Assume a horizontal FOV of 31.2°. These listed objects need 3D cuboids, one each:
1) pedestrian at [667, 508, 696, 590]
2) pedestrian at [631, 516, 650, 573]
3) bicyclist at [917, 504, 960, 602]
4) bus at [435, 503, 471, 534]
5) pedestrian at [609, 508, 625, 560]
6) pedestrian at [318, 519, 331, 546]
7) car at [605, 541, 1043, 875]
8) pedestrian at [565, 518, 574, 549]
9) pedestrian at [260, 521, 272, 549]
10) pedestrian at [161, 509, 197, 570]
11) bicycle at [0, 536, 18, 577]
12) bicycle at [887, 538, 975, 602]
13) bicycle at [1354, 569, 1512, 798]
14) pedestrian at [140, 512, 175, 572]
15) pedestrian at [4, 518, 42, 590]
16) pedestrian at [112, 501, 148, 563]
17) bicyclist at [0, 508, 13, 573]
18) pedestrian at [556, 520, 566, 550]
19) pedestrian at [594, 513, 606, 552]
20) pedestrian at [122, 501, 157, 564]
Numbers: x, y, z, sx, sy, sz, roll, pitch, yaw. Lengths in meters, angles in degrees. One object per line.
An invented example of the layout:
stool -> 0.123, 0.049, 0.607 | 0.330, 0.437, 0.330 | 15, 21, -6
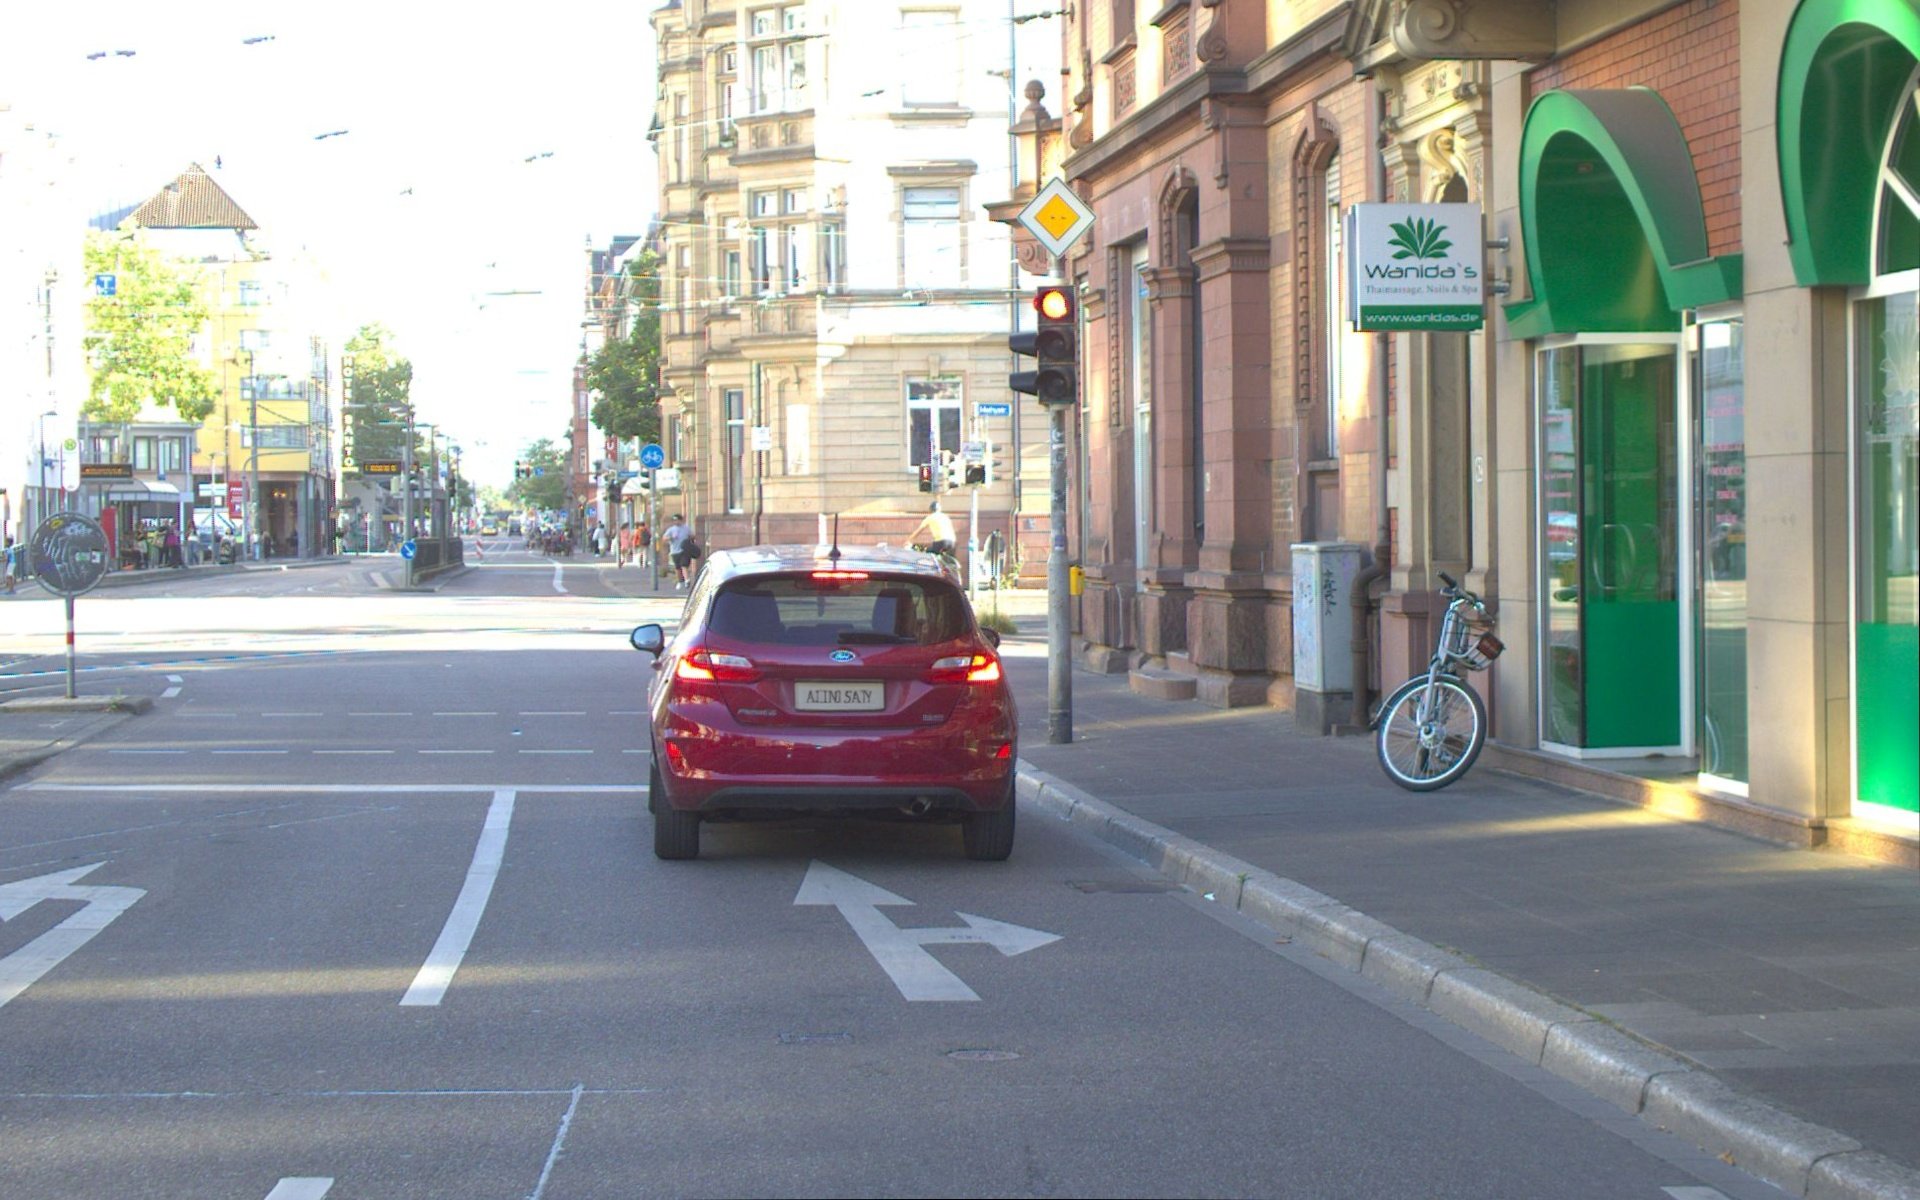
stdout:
pedestrian -> -6.895, -1.266, 85.001 | 0.651, 2.007, 0.760 | -1, 1, -8
pedestrian -> -11.306, -1.958, 121.613 | 0.646, 2.007, 0.683 | 0, 1, -7
bicyclist -> -0.368, -0.812, 59.375 | 0.544, 1.670, 0.500 | 0, 1, 36
bus -> -33.445, -5.379, 226.789 | 1.925, 2.007, 7.139 | -1, 1, -5
pedestrian -> -13.470, -2.590, 134.987 | 0.577, 2.007, 0.631 | -1, 1, -1
pedestrian -> -38.122, -4.029, 206.129 | 0.628, 1.599, 0.579 | -1, 1, -23
car -> -0.802, 0.454, 17.294 | 1.753, 1.461, 3.946 | 1, 1, -9
pedestrian -> -23.924, -4.063, 210.620 | 0.577, 1.880, 0.631 | -1, 1, -6
pedestrian -> -36.225, -3.387, 179.383 | 0.524, 1.483, 0.583 | -1, 1, -5
pedestrian -> -25.671, -1.987, 113.021 | 1.045, 2.007, 0.959 | -1, 1, -9
bicycle -> -27.182, -1.228, 97.033 | 0.807, 1.143, 2.011 | -1, 1, -7
bicycle -> -0.505, -0.525, 59.481 | 1.484, 1.085, 0.527 | 0, 1, 36
bicycle -> 2.622, 0.438, 18.918 | 0.716, 1.148, 1.654 | -2, 1, 12
pedestrian -> -26.985, -1.957, 115.604 | 1.045, 2.007, 0.959 | -1, 1, -9
pedestrian -> -22.589, -1.114, 82.913 | 0.768, 1.724, 0.573 | 0, 1, -5
pedestrian -> -27.250, -2.228, 112.840 | 1.045, 2.007, 0.959 | -1, 1, -9
bicyclist -> -27.161, -1.682, 96.770 | 0.807, 1.815, 0.994 | -1, 1, -7
pedestrian -> -24.891, -4.076, 214.481 | 0.577, 1.880, 0.670 | -1, 1, -6
pedestrian -> -18.610, -3.464, 177.606 | 0.577, 2.007, 0.631 | -1, 1, -6
pedestrian -> -26.481, -2.181, 110.917 | 0.956, 2.007, 1.049 | -1, 1, -7
